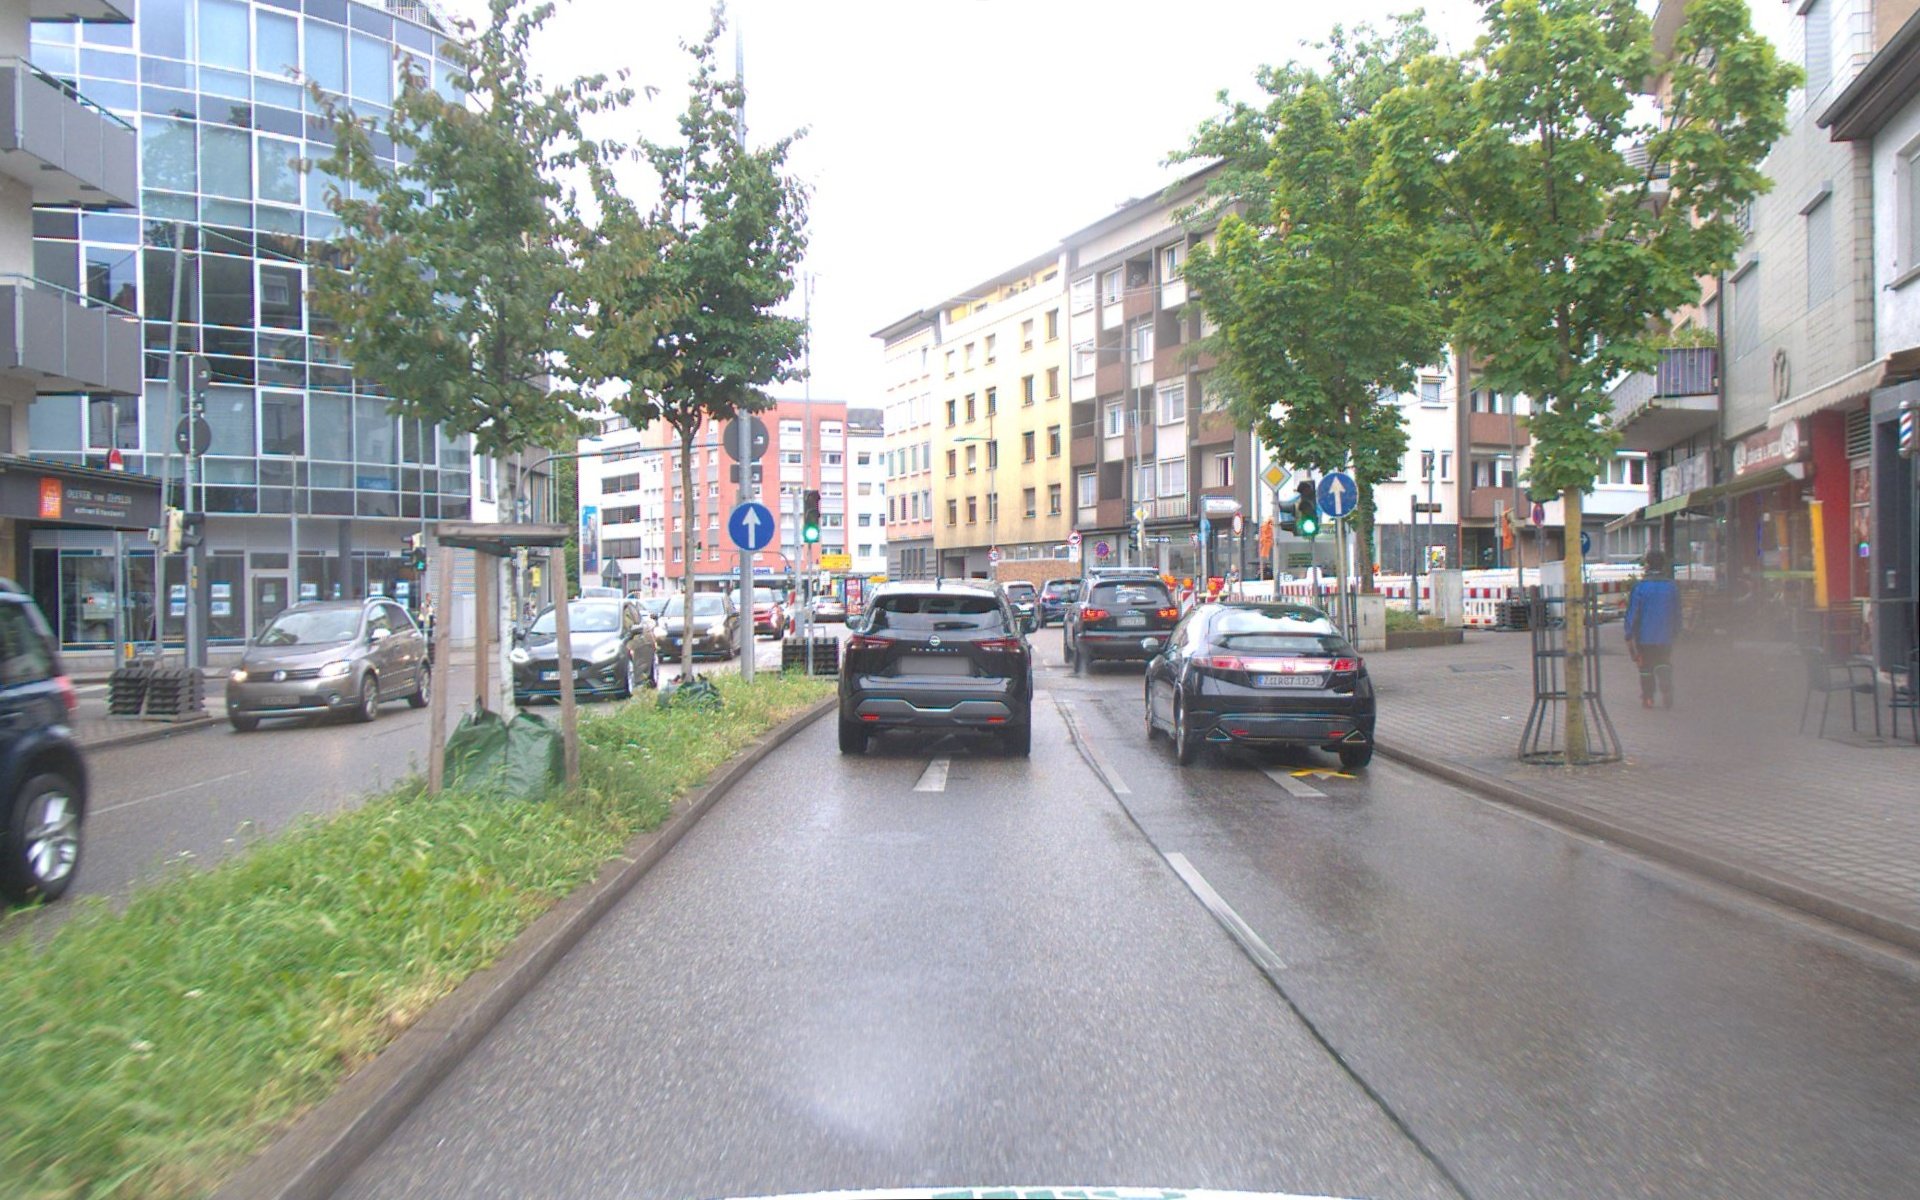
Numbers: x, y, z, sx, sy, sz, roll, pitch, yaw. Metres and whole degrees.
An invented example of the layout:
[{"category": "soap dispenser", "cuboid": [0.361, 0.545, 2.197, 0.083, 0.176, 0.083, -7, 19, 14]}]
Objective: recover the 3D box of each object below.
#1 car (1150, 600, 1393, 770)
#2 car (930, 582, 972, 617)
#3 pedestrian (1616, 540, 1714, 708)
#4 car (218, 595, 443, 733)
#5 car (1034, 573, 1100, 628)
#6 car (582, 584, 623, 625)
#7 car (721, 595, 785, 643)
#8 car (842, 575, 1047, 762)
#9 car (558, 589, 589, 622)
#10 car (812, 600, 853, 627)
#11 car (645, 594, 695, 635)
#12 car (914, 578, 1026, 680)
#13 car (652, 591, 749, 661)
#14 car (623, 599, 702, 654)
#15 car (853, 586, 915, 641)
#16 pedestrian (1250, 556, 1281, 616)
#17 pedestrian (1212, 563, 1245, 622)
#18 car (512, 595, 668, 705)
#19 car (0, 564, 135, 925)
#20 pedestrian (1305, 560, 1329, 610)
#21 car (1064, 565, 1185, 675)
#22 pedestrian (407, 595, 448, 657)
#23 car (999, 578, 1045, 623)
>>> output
[{"category": "car", "cuboid": [2.855, 0.721, 15.897, 1.749, 1.424, 3.719, 0, 0, 2]}, {"category": "car", "cuboid": [-0.418, -0.032, 72.276, 1.608, 1.405, 3.346, -2, 0, -3]}, {"category": "pedestrian", "cuboid": [7.799, 0.259, 18.336, 0.774, 1.786, 0.872, -2, 0, 11]}, {"category": "car", "cuboid": [-8.427, 0.785, 22.493, 1.599, 1.619, 3.935, -3, 0, -2]}, {"category": "car", "cuboid": [3.311, -0.013, 51.590, 1.793, 1.589, 3.719, 1, 1, 0]}, {"category": "car", "cuboid": [-14.584, 0.175, 67.583, 1.522, 1.598, 3.339, 1, 0, -11]}, {"category": "car", "cuboid": [-6.211, 0.548, 49.877, 1.608, 1.344, 3.346, -2, 0, -3]}, {"category": "car", "cuboid": [-0.175, 0.597, 16.447, 1.786, 1.628, 3.717, 1, 0, -1]}, {"category": "car", "cuboid": [-18.729, 0.251, 80.228, 1.430, 1.455, 3.359, 1, 1, -13]}, {"category": "car", "cuboid": [-6.926, 0.718, 89.372, 1.613, 1.368, 3.335, -2, 0, -14]}, {"category": "car", "cuboid": [-11.613, 0.556, 66.328, 1.609, 1.516, 3.345, -2, 0, -4]}, {"category": "car", "cuboid": [0.122, 0.455, 28.465, 1.786, 1.628, 3.717, 1, 0, -1]}, {"category": "car", "cuboid": [-5.703, 0.543, 36.647, 1.637, 1.393, 3.751, -2, 0, -2]}, {"category": "car", "cuboid": [-7.691, 0.658, 43.000, 1.519, 1.312, 3.347, -2, 0, -2]}, {"category": "car", "cuboid": [-2.127, 0.353, 46.113, 1.608, 1.405, 3.346, -2, 0, -3]}, {"category": "pedestrian", "cuboid": [10.641, -0.484, 57.638, 0.807, 2.049, 0.837, 1, 1, -11]}, {"category": "pedestrian", "cuboid": [9.405, -0.276, 57.922, 0.809, 2.049, 0.835, 1, 1, -20]}, {"category": "car", "cuboid": [-5.473, 0.683, 24.862, 1.502, 1.437, 3.935, -3, 0, -2]}, {"category": "car", "cuboid": [-5.328, 0.720, 6.972, 1.649, 1.690, 4.095, -3, 0, -2]}, {"category": "pedestrian", "cuboid": [12.903, -0.555, 59.783, 0.523, 1.800, 0.616, 1, 1, -32]}, {"category": "car", "cuboid": [2.925, 0.309, 30.055, 1.793, 1.837, 3.719, 1, 1, 0]}, {"category": "pedestrian", "cuboid": [-14.322, 0.708, 44.483, 0.775, 1.618, 0.753, -2, 0, -38]}, {"category": "car", "cuboid": [2.521, -0.003, 67.027, 1.792, 1.713, 3.720, 1, 1, 2]}]
